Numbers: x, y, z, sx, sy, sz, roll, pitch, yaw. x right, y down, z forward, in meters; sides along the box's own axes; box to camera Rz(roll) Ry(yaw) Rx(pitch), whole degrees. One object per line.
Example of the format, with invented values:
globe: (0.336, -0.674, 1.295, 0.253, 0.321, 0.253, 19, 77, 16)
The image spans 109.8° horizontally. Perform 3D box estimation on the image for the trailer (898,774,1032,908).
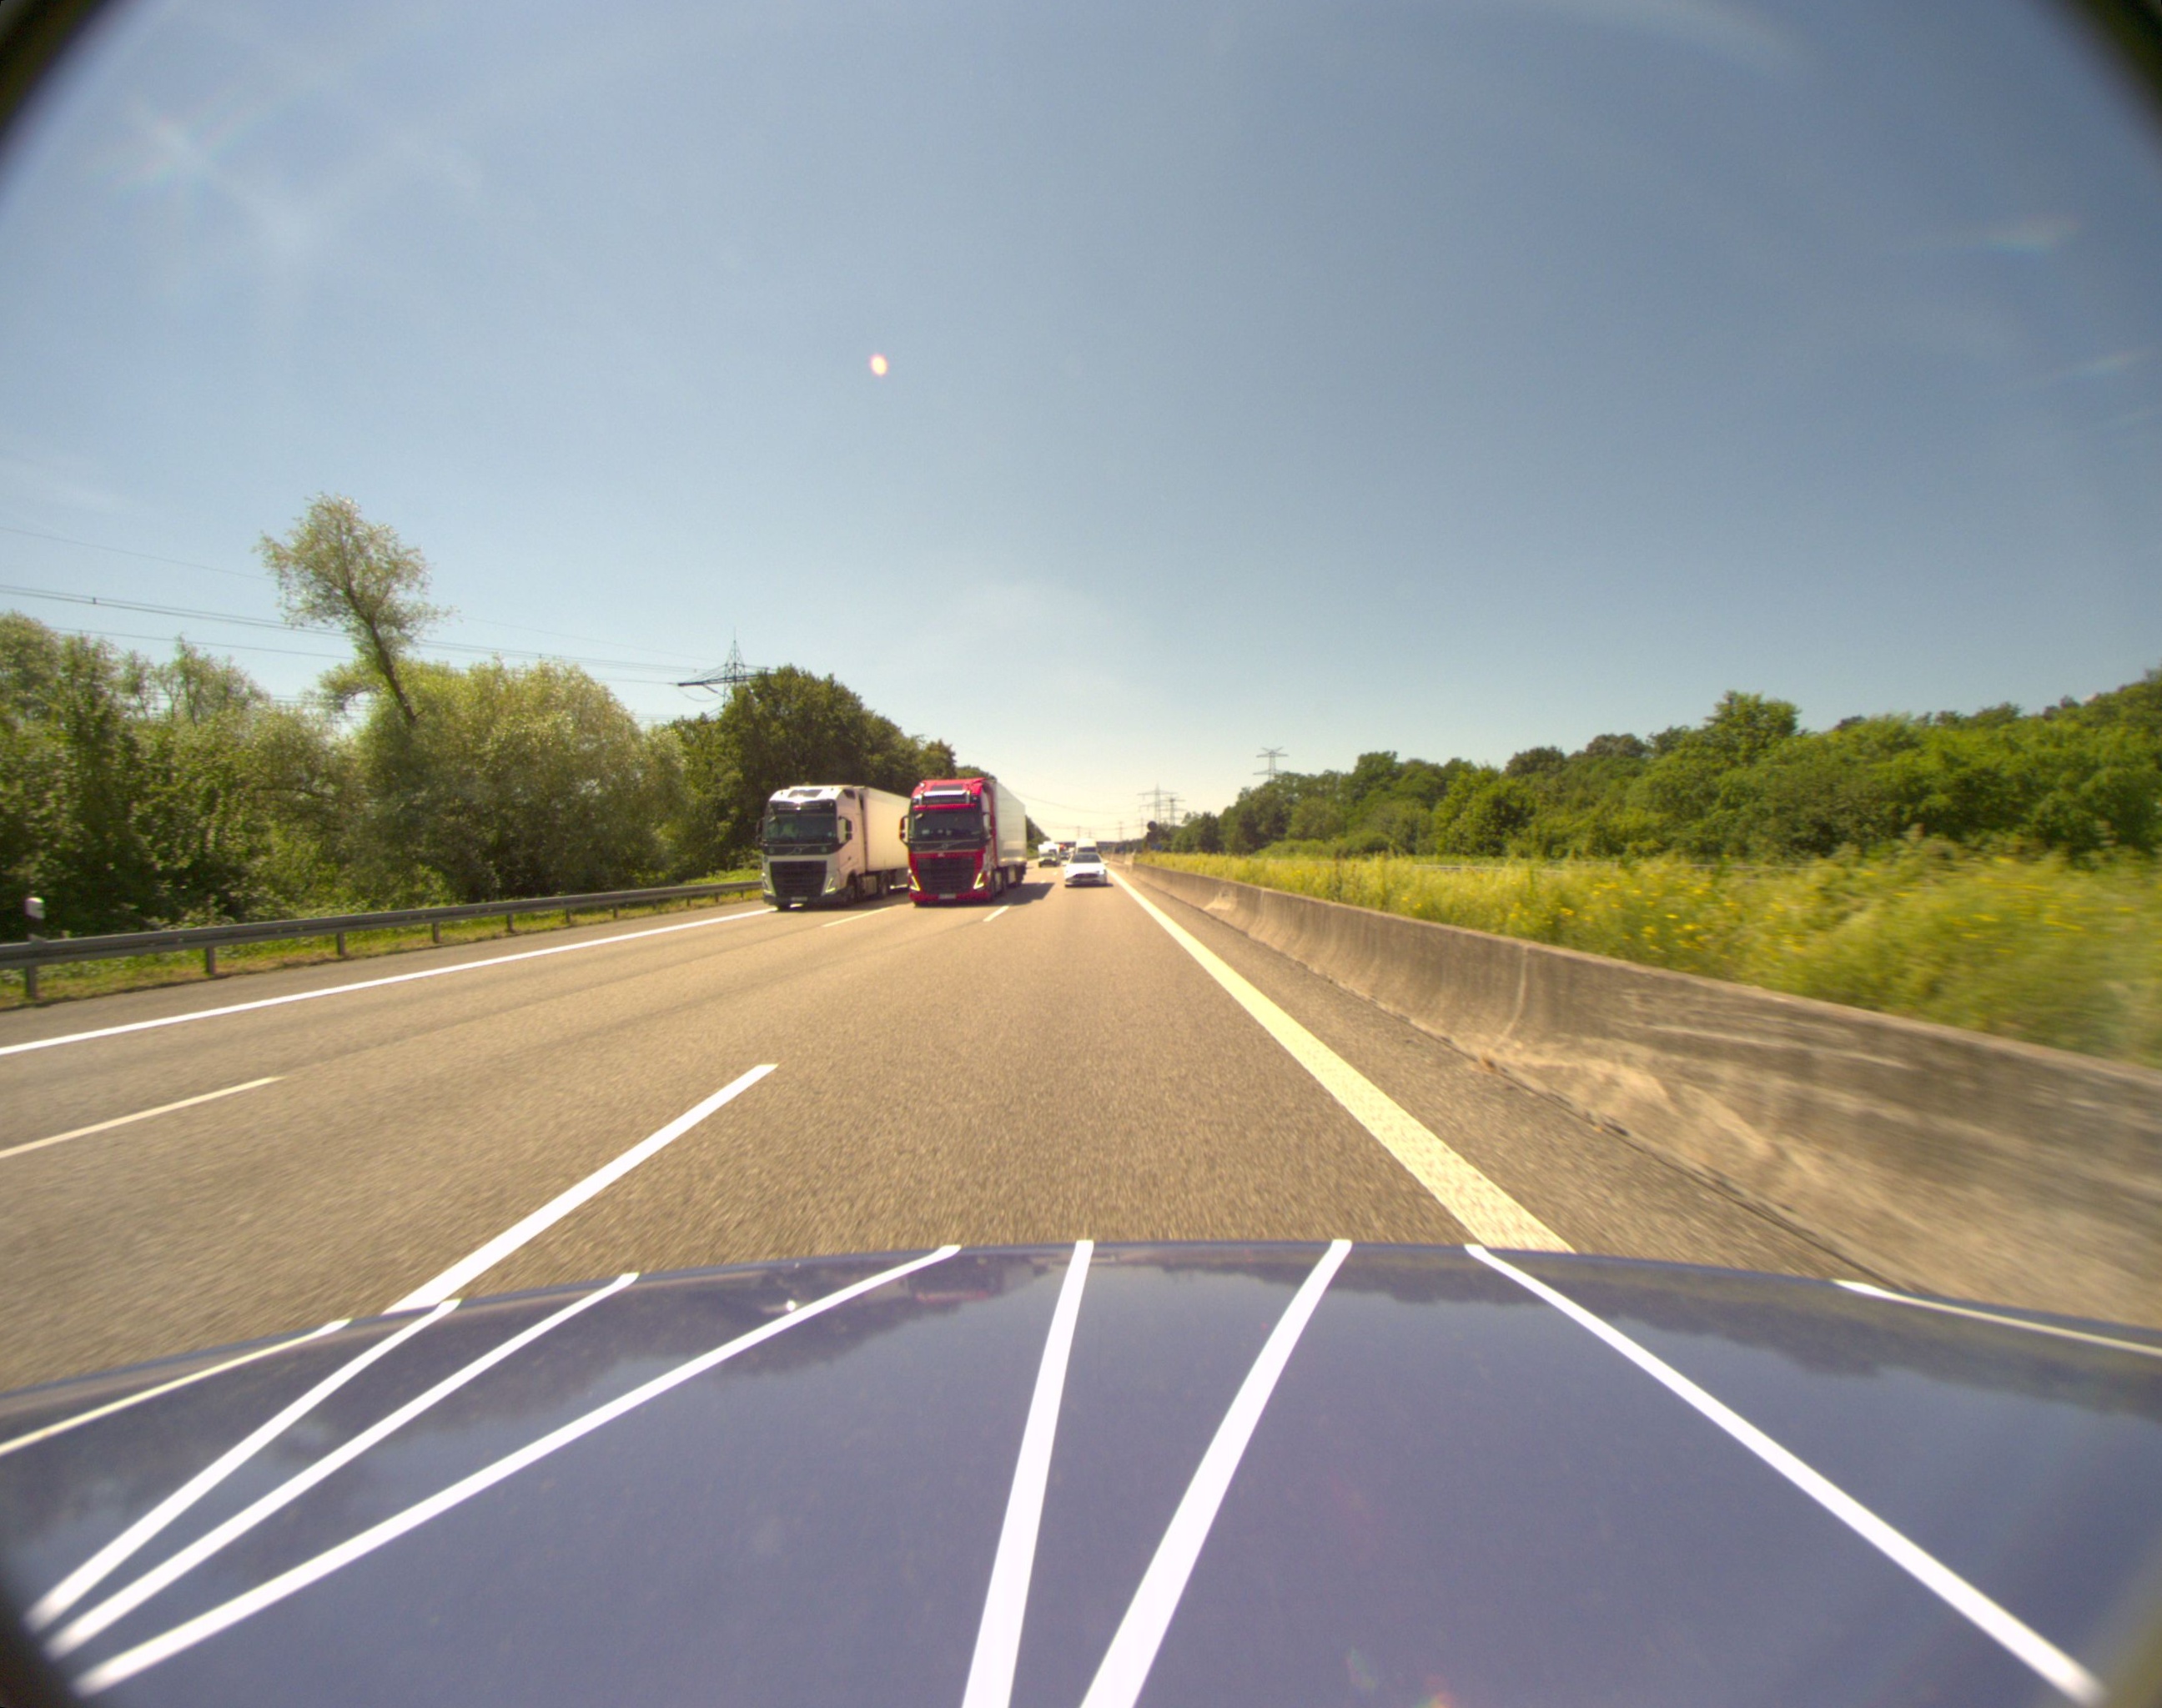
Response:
trailer: (-4.092, -0.475, 31.404, 2.945, 3.994, 16.197, -2, 1, 0)

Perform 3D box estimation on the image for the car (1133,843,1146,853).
car: (11.120, -1.124, 143.976, 1.998, 2.002, 6.222, 1, 0, 0)

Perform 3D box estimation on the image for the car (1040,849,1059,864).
car: (-3.339, 0.290, 80.988, 1.788, 1.520, 4.104, -1, 0, 0)

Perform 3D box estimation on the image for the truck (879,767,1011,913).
truck: (-4.050, -0.408, 24.144, 2.948, 3.963, 6.100, -2, 1, 0)

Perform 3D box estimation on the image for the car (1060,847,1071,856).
car: (-2.756, -0.480, 137.405, 1.904, 1.662, 4.000, -2, 0, 0)

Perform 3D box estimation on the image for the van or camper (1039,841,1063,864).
van or camper: (-3.359, -0.208, 86.278, 2.411, 2.483, 6.431, -1, 0, 0)

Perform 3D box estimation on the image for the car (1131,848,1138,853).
car: (18.186, -1.163, 259.245, 1.913, 1.470, 4.824, 1, 0, 0)

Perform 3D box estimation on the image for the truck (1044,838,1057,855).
truck: (-6.981, -1.750, 176.923, 2.584, 3.704, 8.278, -2, 1, 0)

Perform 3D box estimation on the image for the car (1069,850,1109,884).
car: (0.371, 0.601, 36.905, 1.788, 1.462, 3.999, -2, 1, 0)

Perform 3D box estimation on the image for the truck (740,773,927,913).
truck: (-8.530, -0.381, 28.294, 3.033, 4.069, 10.976, -2, 1, 1)

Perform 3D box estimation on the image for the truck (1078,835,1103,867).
truck: (0.868, -0.288, 70.296, 2.192, 2.841, 5.503, -1, 0, 0)

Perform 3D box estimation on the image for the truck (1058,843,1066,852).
truck: (-6.517, -2.257, 260.517, 2.619, 2.801, 6.593, -1, 0, 0)
